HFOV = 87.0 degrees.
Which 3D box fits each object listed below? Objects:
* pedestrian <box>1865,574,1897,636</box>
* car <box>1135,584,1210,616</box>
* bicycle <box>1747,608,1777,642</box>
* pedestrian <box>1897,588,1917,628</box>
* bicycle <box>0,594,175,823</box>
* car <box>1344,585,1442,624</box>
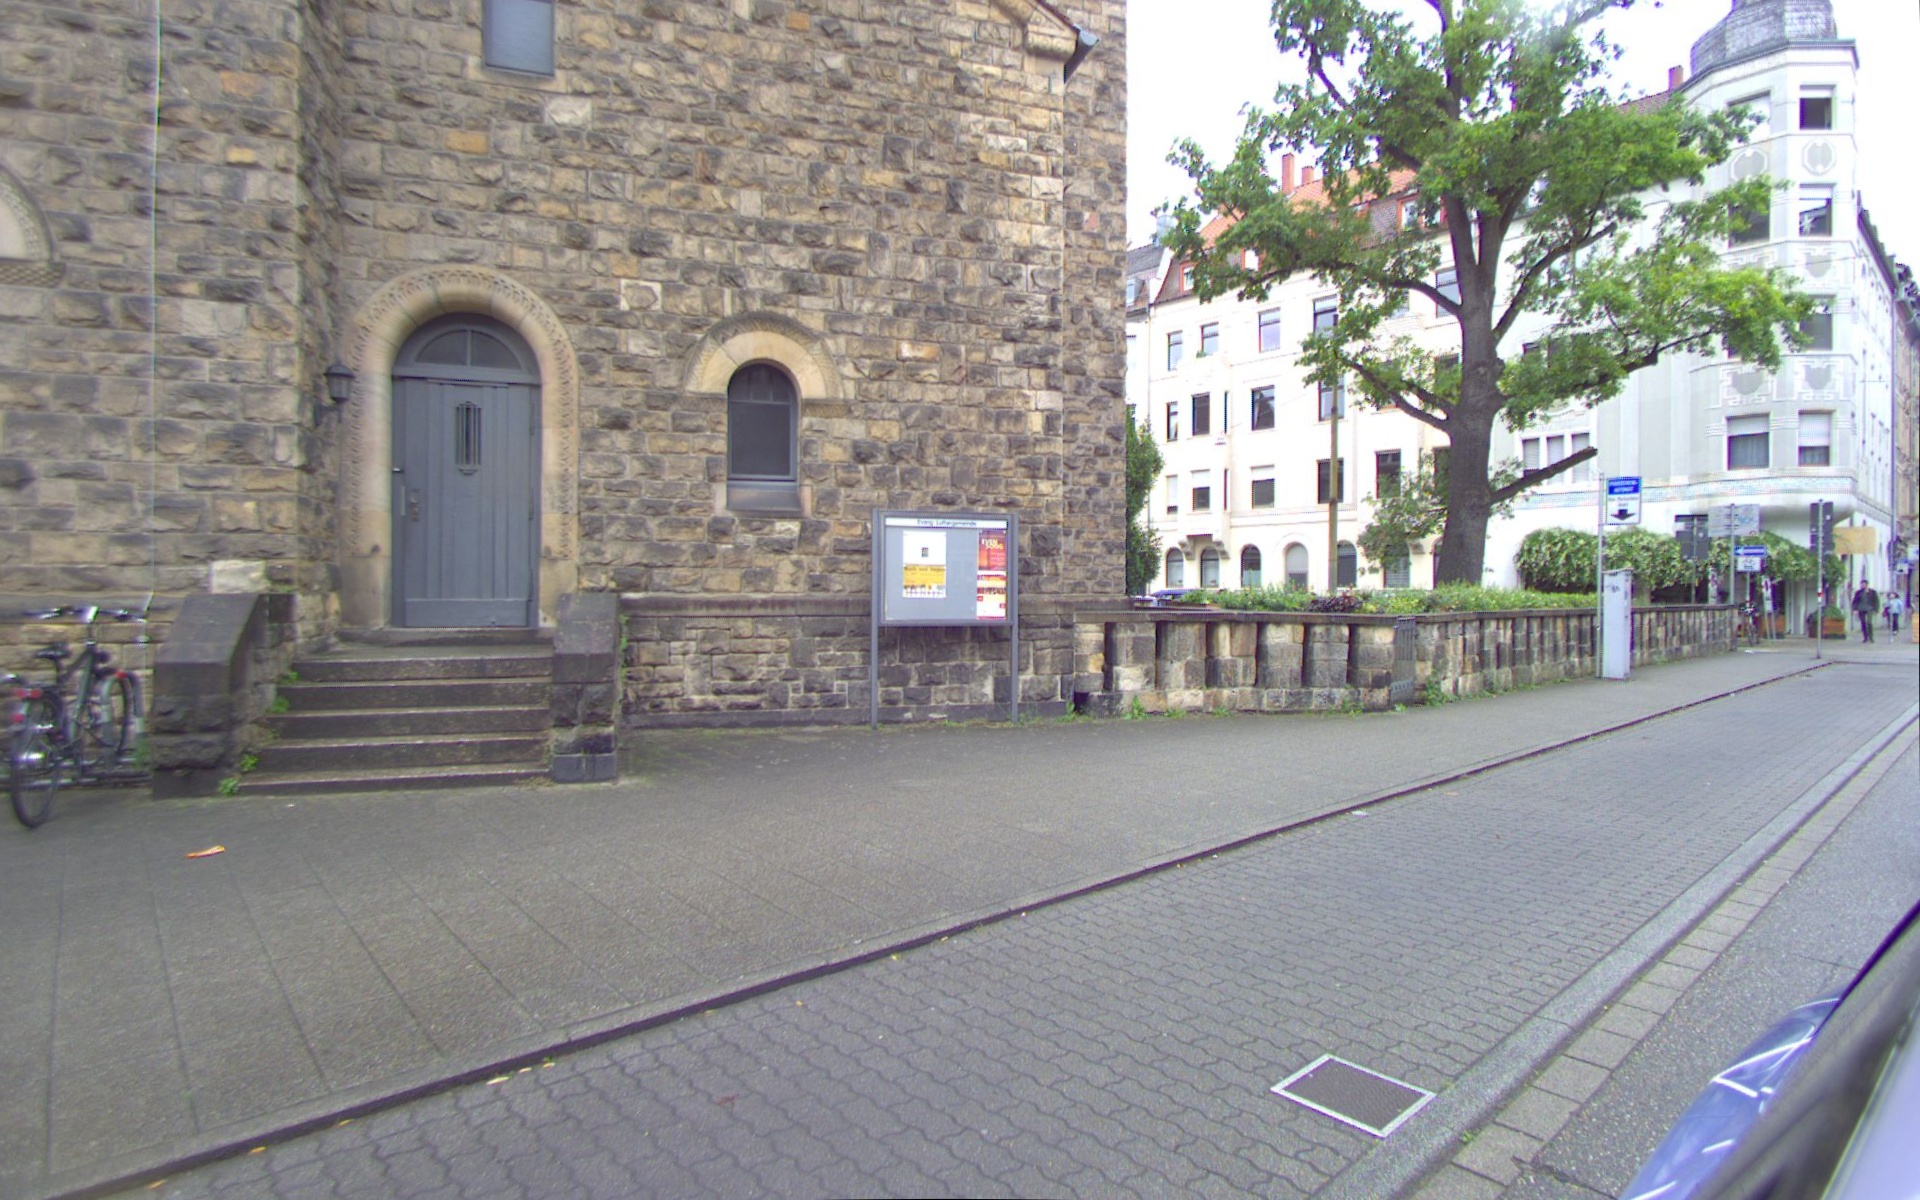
[{"bbox_3d":[28.447,0.148,31.248,0.681,1.896,0.645,0,1,-42],"label":"pedestrian"},{"bbox_3d":[9.915,-0.023,47.377,1.421,1.427,3.271,0,1,-38],"label":"car"},{"bbox_3d":[24.418,0.755,30.814,1.990,0.904,0.390,-3,3,-42],"label":"bicycle"},{"bbox_3d":[35.012,0.283,37.413,0.385,1.479,0.481,0,1,-42],"label":"pedestrian"},{"bbox_3d":[-5.212,0.544,5.993,0.502,1.067,1.994,0,3,-27],"label":"bicycle"},{"bbox_3d":[16.952,0.138,39.719,1.421,1.427,3.271,0,1,-38],"label":"car"}]
